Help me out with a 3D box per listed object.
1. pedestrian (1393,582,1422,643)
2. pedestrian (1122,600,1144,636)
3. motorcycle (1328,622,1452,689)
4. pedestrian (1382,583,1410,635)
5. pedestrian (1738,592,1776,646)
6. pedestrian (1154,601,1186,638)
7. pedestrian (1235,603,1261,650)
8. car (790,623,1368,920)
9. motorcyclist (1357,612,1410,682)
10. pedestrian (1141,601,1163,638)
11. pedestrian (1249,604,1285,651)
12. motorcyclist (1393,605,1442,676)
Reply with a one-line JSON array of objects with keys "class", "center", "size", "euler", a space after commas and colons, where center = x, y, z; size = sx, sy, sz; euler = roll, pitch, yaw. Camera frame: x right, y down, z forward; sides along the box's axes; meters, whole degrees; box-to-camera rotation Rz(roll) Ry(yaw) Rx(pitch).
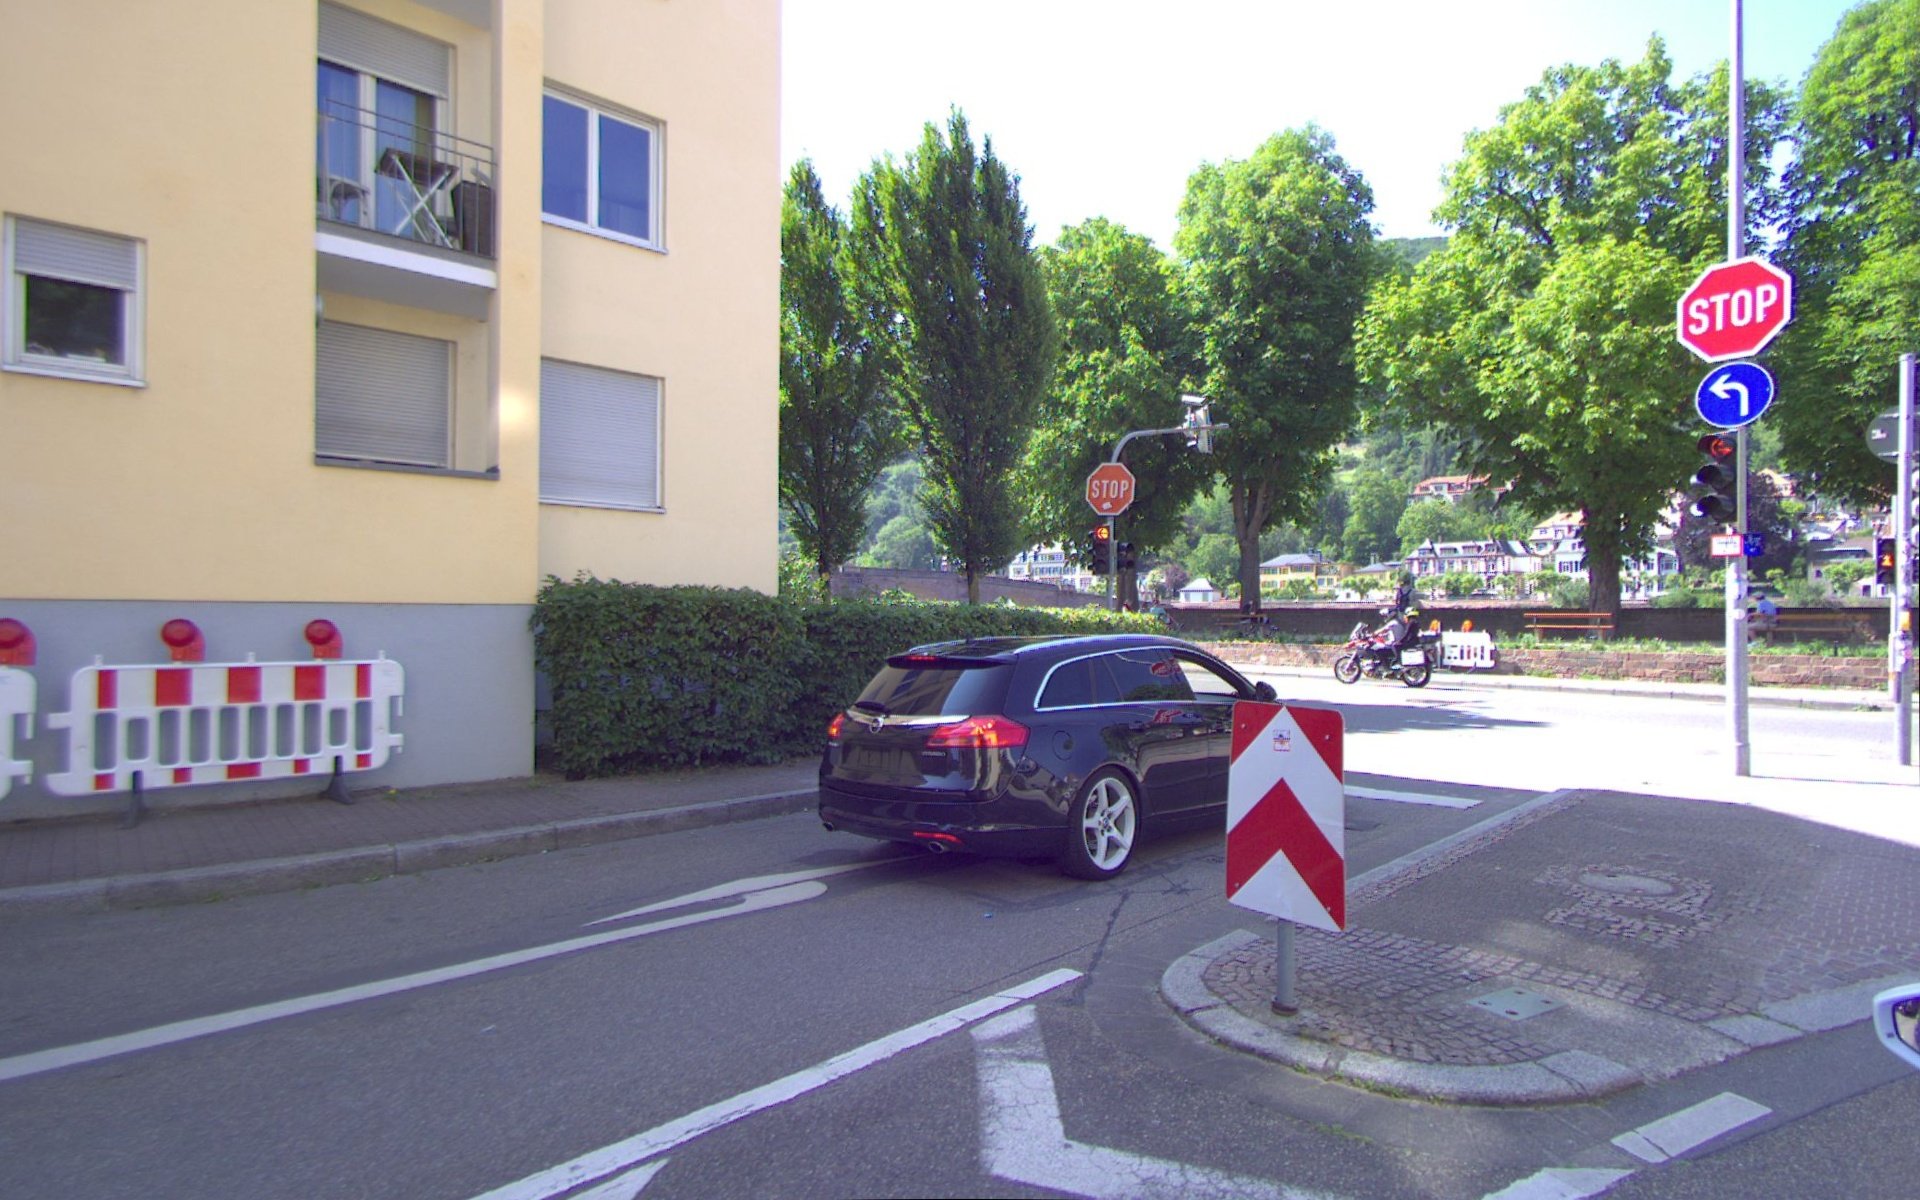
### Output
[{"class": "pedestrian", "center": [13.944, 0.389, 31.302], "size": [0.751, 1.882, 0.756], "euler": [1, -1, 27]}, {"class": "pedestrian", "center": [6.214, 0.659, 36.099], "size": [0.627, 1.287, 0.463], "euler": [2, -1, -41]}, {"class": "motorcycle", "center": [9.529, 1.197, 22.331], "size": [2.437, 1.394, 0.759], "euler": [-1, -2, 43]}, {"class": "pedestrian", "center": [14.987, 0.311, 34.522], "size": [0.698, 1.754, 0.754], "euler": [1, -1, 35]}, {"class": "pedestrian", "center": [18.466, 0.444, 23.281], "size": [0.632, 1.244, 0.413], "euler": [0, -1, 33]}, {"class": "pedestrian", "center": [7.374, 0.692, 35.238], "size": [1.214, 1.287, 0.463], "euler": [2, -1, -41]}, {"class": "pedestrian", "center": [9.377, 0.869, 32.711], "size": [0.798, 1.513, 0.463], "euler": [2, -1, -41]}, {"class": "car", "center": [1.175, 0.952, 7.336], "size": [1.696, 1.481, 4.696], "euler": [-3, -4, 44]}, {"class": "motorcyclist", "center": [9.456, 1.038, 22.424], "size": [0.862, 1.514, 0.814], "euler": [0, -1, 43]}, {"class": "pedestrian", "center": [6.786, 0.676, 35.436], "size": [0.627, 1.287, 0.463], "euler": [2, -1, -41]}, {"class": "pedestrian", "center": [9.918, 0.892, 32.472], "size": [1.374, 1.499, 0.463], "euler": [2, -1, -41]}, {"class": "motorcyclist", "center": [9.993, 0.885, 21.929], "size": [0.762, 1.513, 0.814], "euler": [-1, -2, 43]}]
